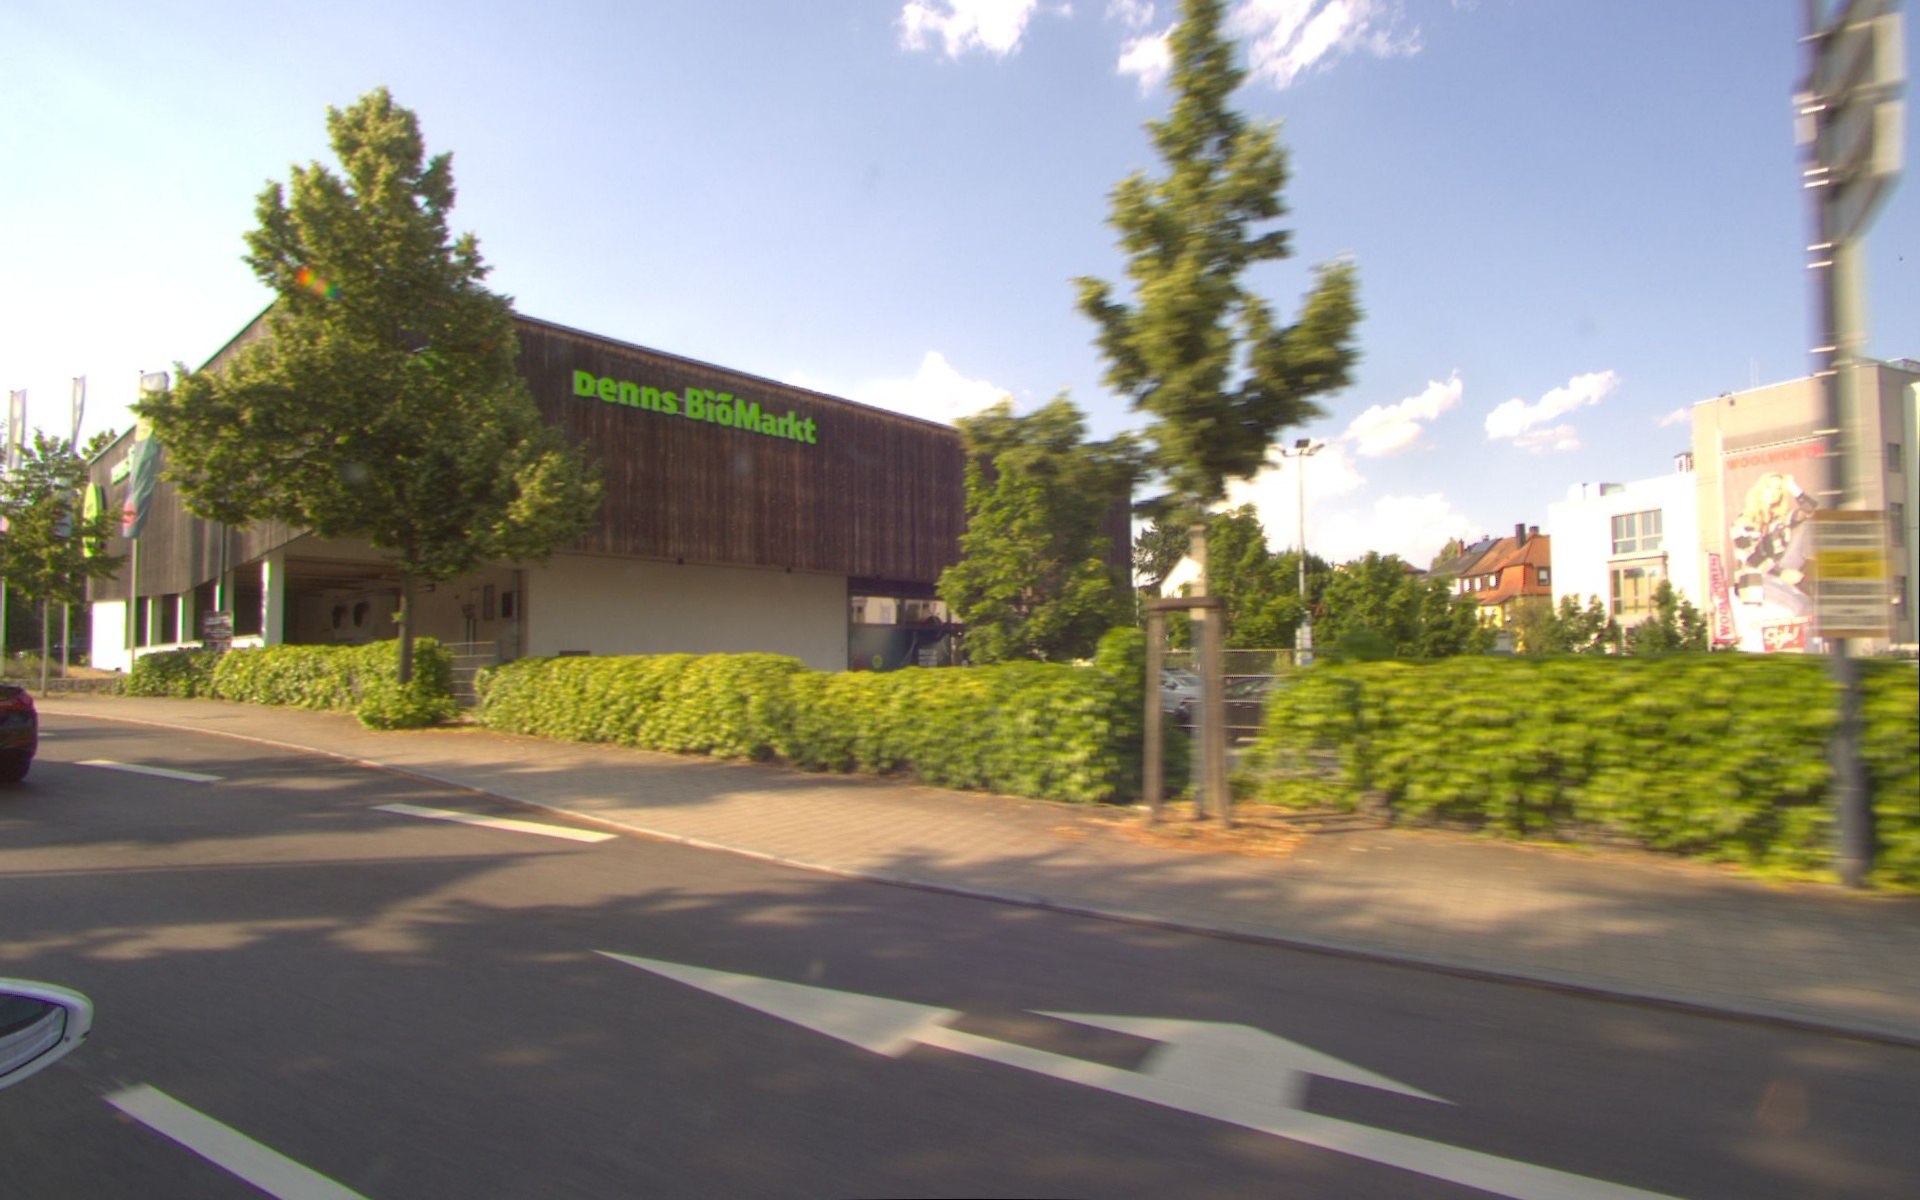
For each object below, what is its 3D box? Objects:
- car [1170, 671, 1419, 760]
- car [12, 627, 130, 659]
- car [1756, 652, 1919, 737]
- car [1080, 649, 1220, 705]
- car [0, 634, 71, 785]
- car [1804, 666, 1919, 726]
[{"bbox_3d":[6.824,2.282,20.632,4.491,1.558,1.987,-2,-4,38],"label":"car"},{"bbox_3d":[-45.135,2.182,50.945,4.213,1.587,1.782,2,-2,-32],"label":"car"},{"bbox_3d":[20.297,2.087,22.014,4.269,1.743,1.880,-2,-6,43],"label":"car"},{"bbox_3d":[6.023,2.410,31.967,3.955,1.648,1.985,-2,-3,41],"label":"car"},{"bbox_3d":[-10.877,1.047,10.000,4.292,1.381,1.917,-2,-2,33],"label":"car"},{"bbox_3d":[27.737,2.797,29.246,1.980,1.668,4.508,3,-4,-42],"label":"car"}]
